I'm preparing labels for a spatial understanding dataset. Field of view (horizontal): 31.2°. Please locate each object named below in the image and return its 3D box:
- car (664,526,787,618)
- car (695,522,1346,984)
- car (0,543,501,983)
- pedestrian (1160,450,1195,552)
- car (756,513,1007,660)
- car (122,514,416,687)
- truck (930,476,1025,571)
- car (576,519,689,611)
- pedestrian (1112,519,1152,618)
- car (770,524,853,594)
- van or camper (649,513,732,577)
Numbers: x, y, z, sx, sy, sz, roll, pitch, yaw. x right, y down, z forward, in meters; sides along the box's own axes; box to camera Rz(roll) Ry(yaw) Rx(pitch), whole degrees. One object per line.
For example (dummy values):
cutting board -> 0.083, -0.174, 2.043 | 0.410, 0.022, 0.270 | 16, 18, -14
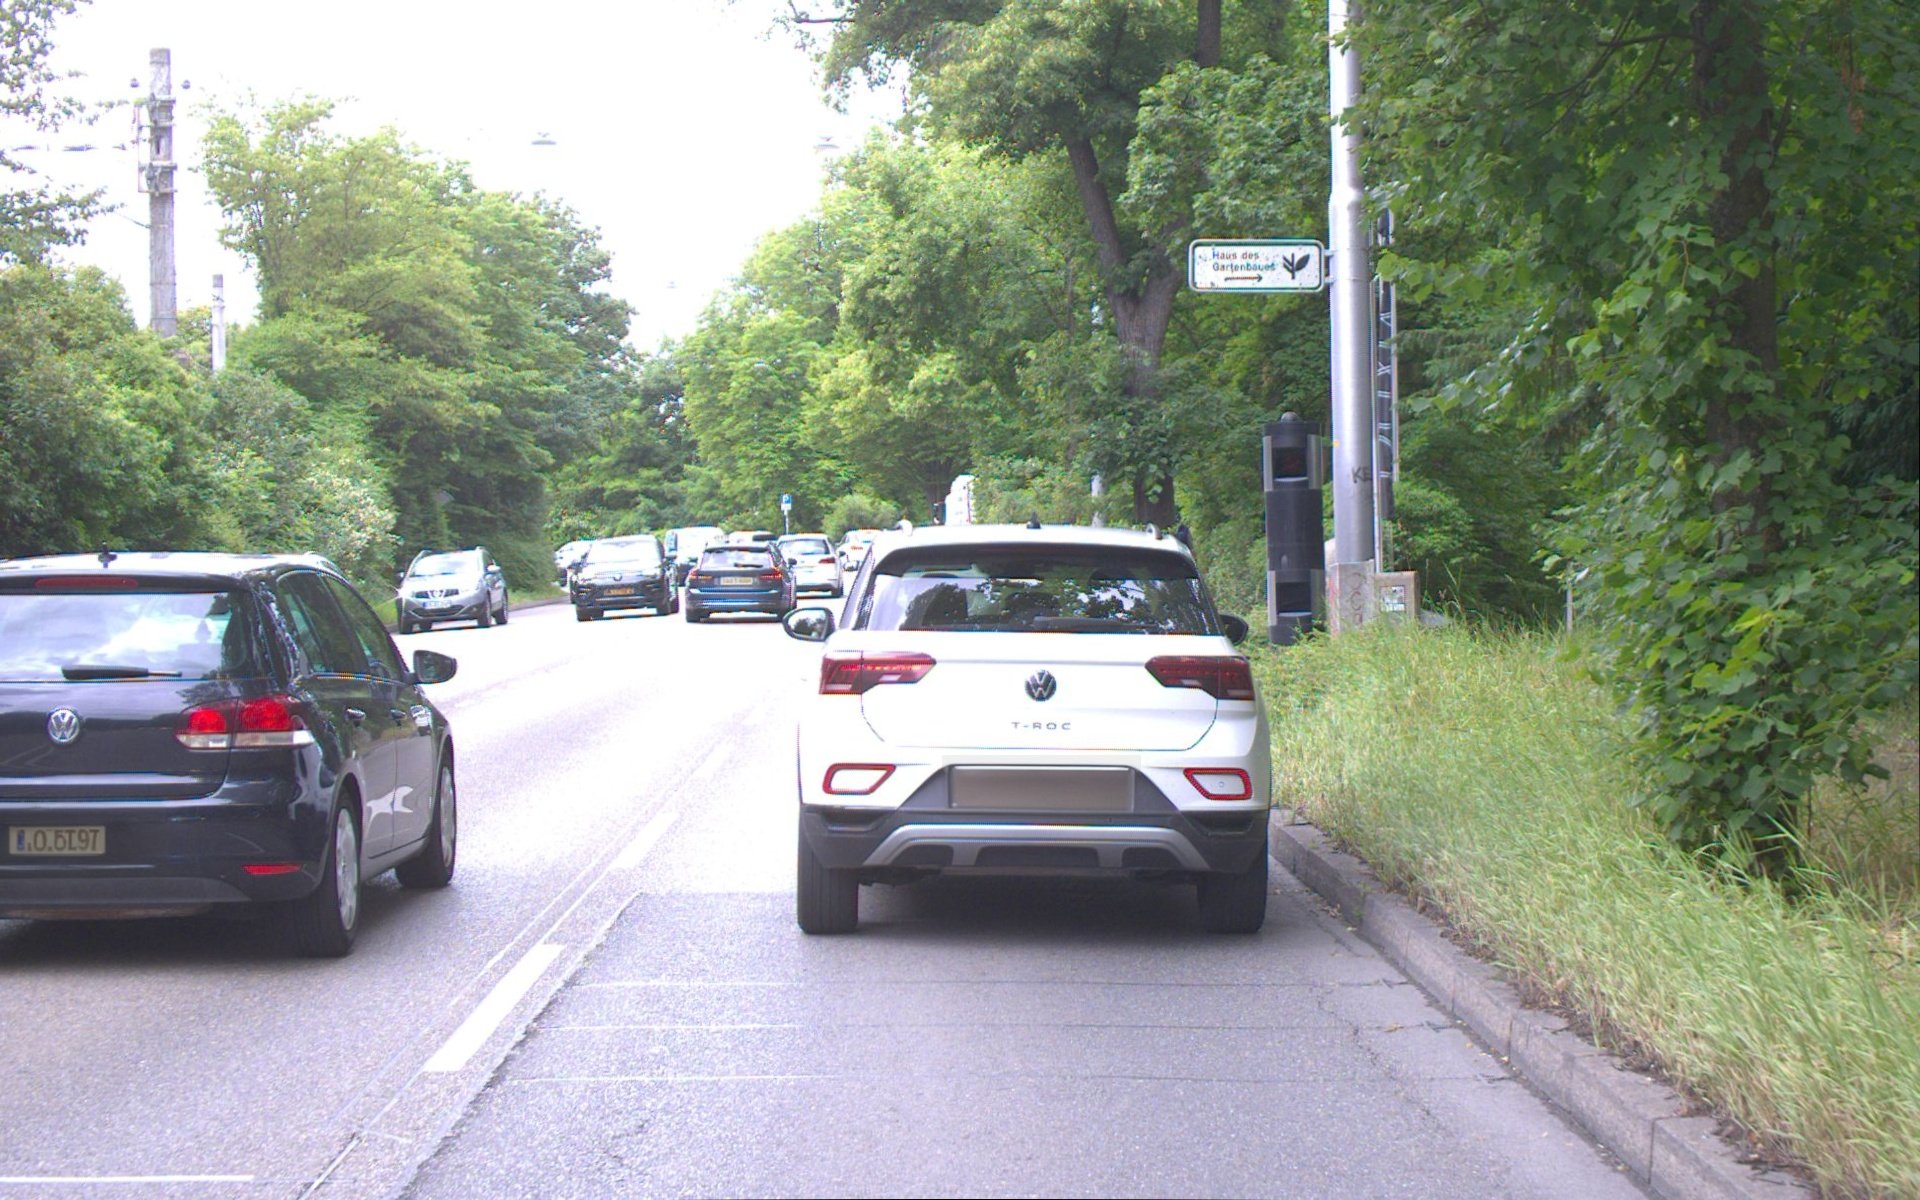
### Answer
car -> -4.185, -0.515, 61.863 | 1.993, 1.586, 4.000 | 0, 1, -1
car -> 0.073, 0.505, 13.974 | 2.000, 1.590, 4.001 | 0, 1, -8
car -> -3.023, 0.517, 13.476 | 1.949, 1.461, 4.000 | 0, 1, -1
pedestrian -> 3.741, -1.692, 59.047 | 0.519, 1.747, 0.525 | 0, 1, -4
car -> -1.064, -0.208, 44.256 | 1.851, 1.697, 4.001 | -4, 2, -22
car -> -6.235, -0.024, 31.494 | 1.839, 1.460, 4.466 | 0, 1, -1
truck -> 0.556, -2.605, 119.158 | 2.481, 3.171, 7.230 | 0, 1, -6
car -> -6.639, -0.685, 70.076 | 1.810, 1.656, 4.830 | -2, -1, 0
pedestrian -> 2.942, -0.536, 58.808 | 0.608, 1.692, 0.549 | 0, 1, -4
car -> -3.486, -0.974, 81.337 | 1.821, 1.617, 4.000 | 0, 1, -1
van or camper -> -9.322, -1.866, 118.541 | 1.993, 2.007, 5.370 | -4, 1, -12
